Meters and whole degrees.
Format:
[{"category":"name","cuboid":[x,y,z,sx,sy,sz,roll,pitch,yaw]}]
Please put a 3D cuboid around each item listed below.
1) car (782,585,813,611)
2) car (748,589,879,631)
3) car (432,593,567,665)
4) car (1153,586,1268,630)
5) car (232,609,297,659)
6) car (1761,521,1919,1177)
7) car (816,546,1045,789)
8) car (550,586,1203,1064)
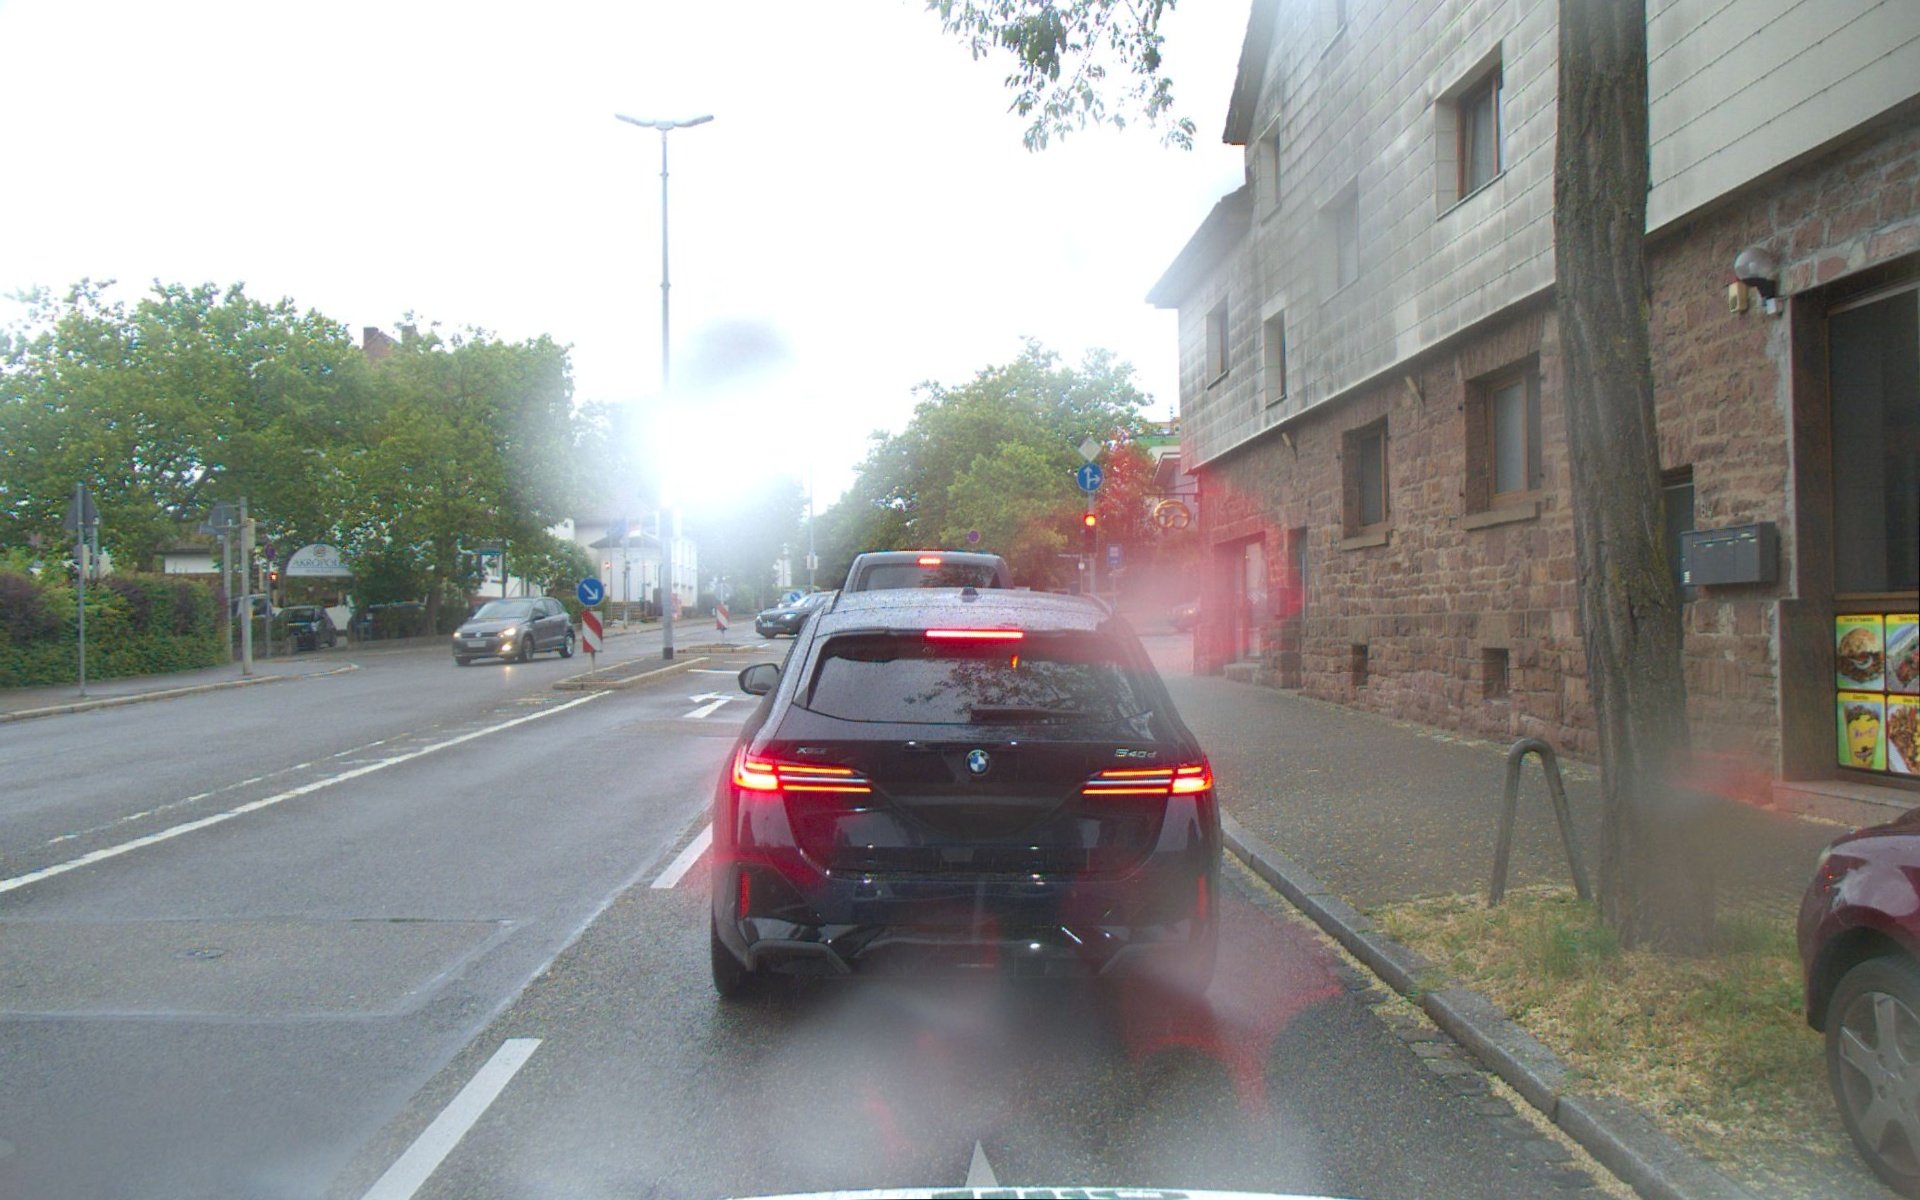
[{"category":"car","cuboid":[-9.018,-0.118,91.979,1.435,1.422,3.321,0,0,-1]},{"category":"car","cuboid":[-4.686,0.297,53.348,3.968,1.311,1.820,-1,1,-43]},{"category":"car","cuboid":[-10.375,0.615,37.540,1.953,1.536,3.954,0,0,0]},{"category":"car","cuboid":[9.437,0.277,62.278,3.930,1.579,1.813,0,0,-22]},{"category":"car","cuboid":[-23.762,1.129,56.590,1.966,1.579,3.973,0,0,-22]},{"category":"car","cuboid":[3.042,0.551,2.612,1.553,1.516,3.625,-3,1,-4]},{"category":"car","cuboid":[-0.319,0.492,14.620,1.748,1.849,3.998,0,0,-3]},{"category":"car","cuboid":[-0.372,0.701,7.404,2.023,1.472,4.480,1,0,-3]}]
